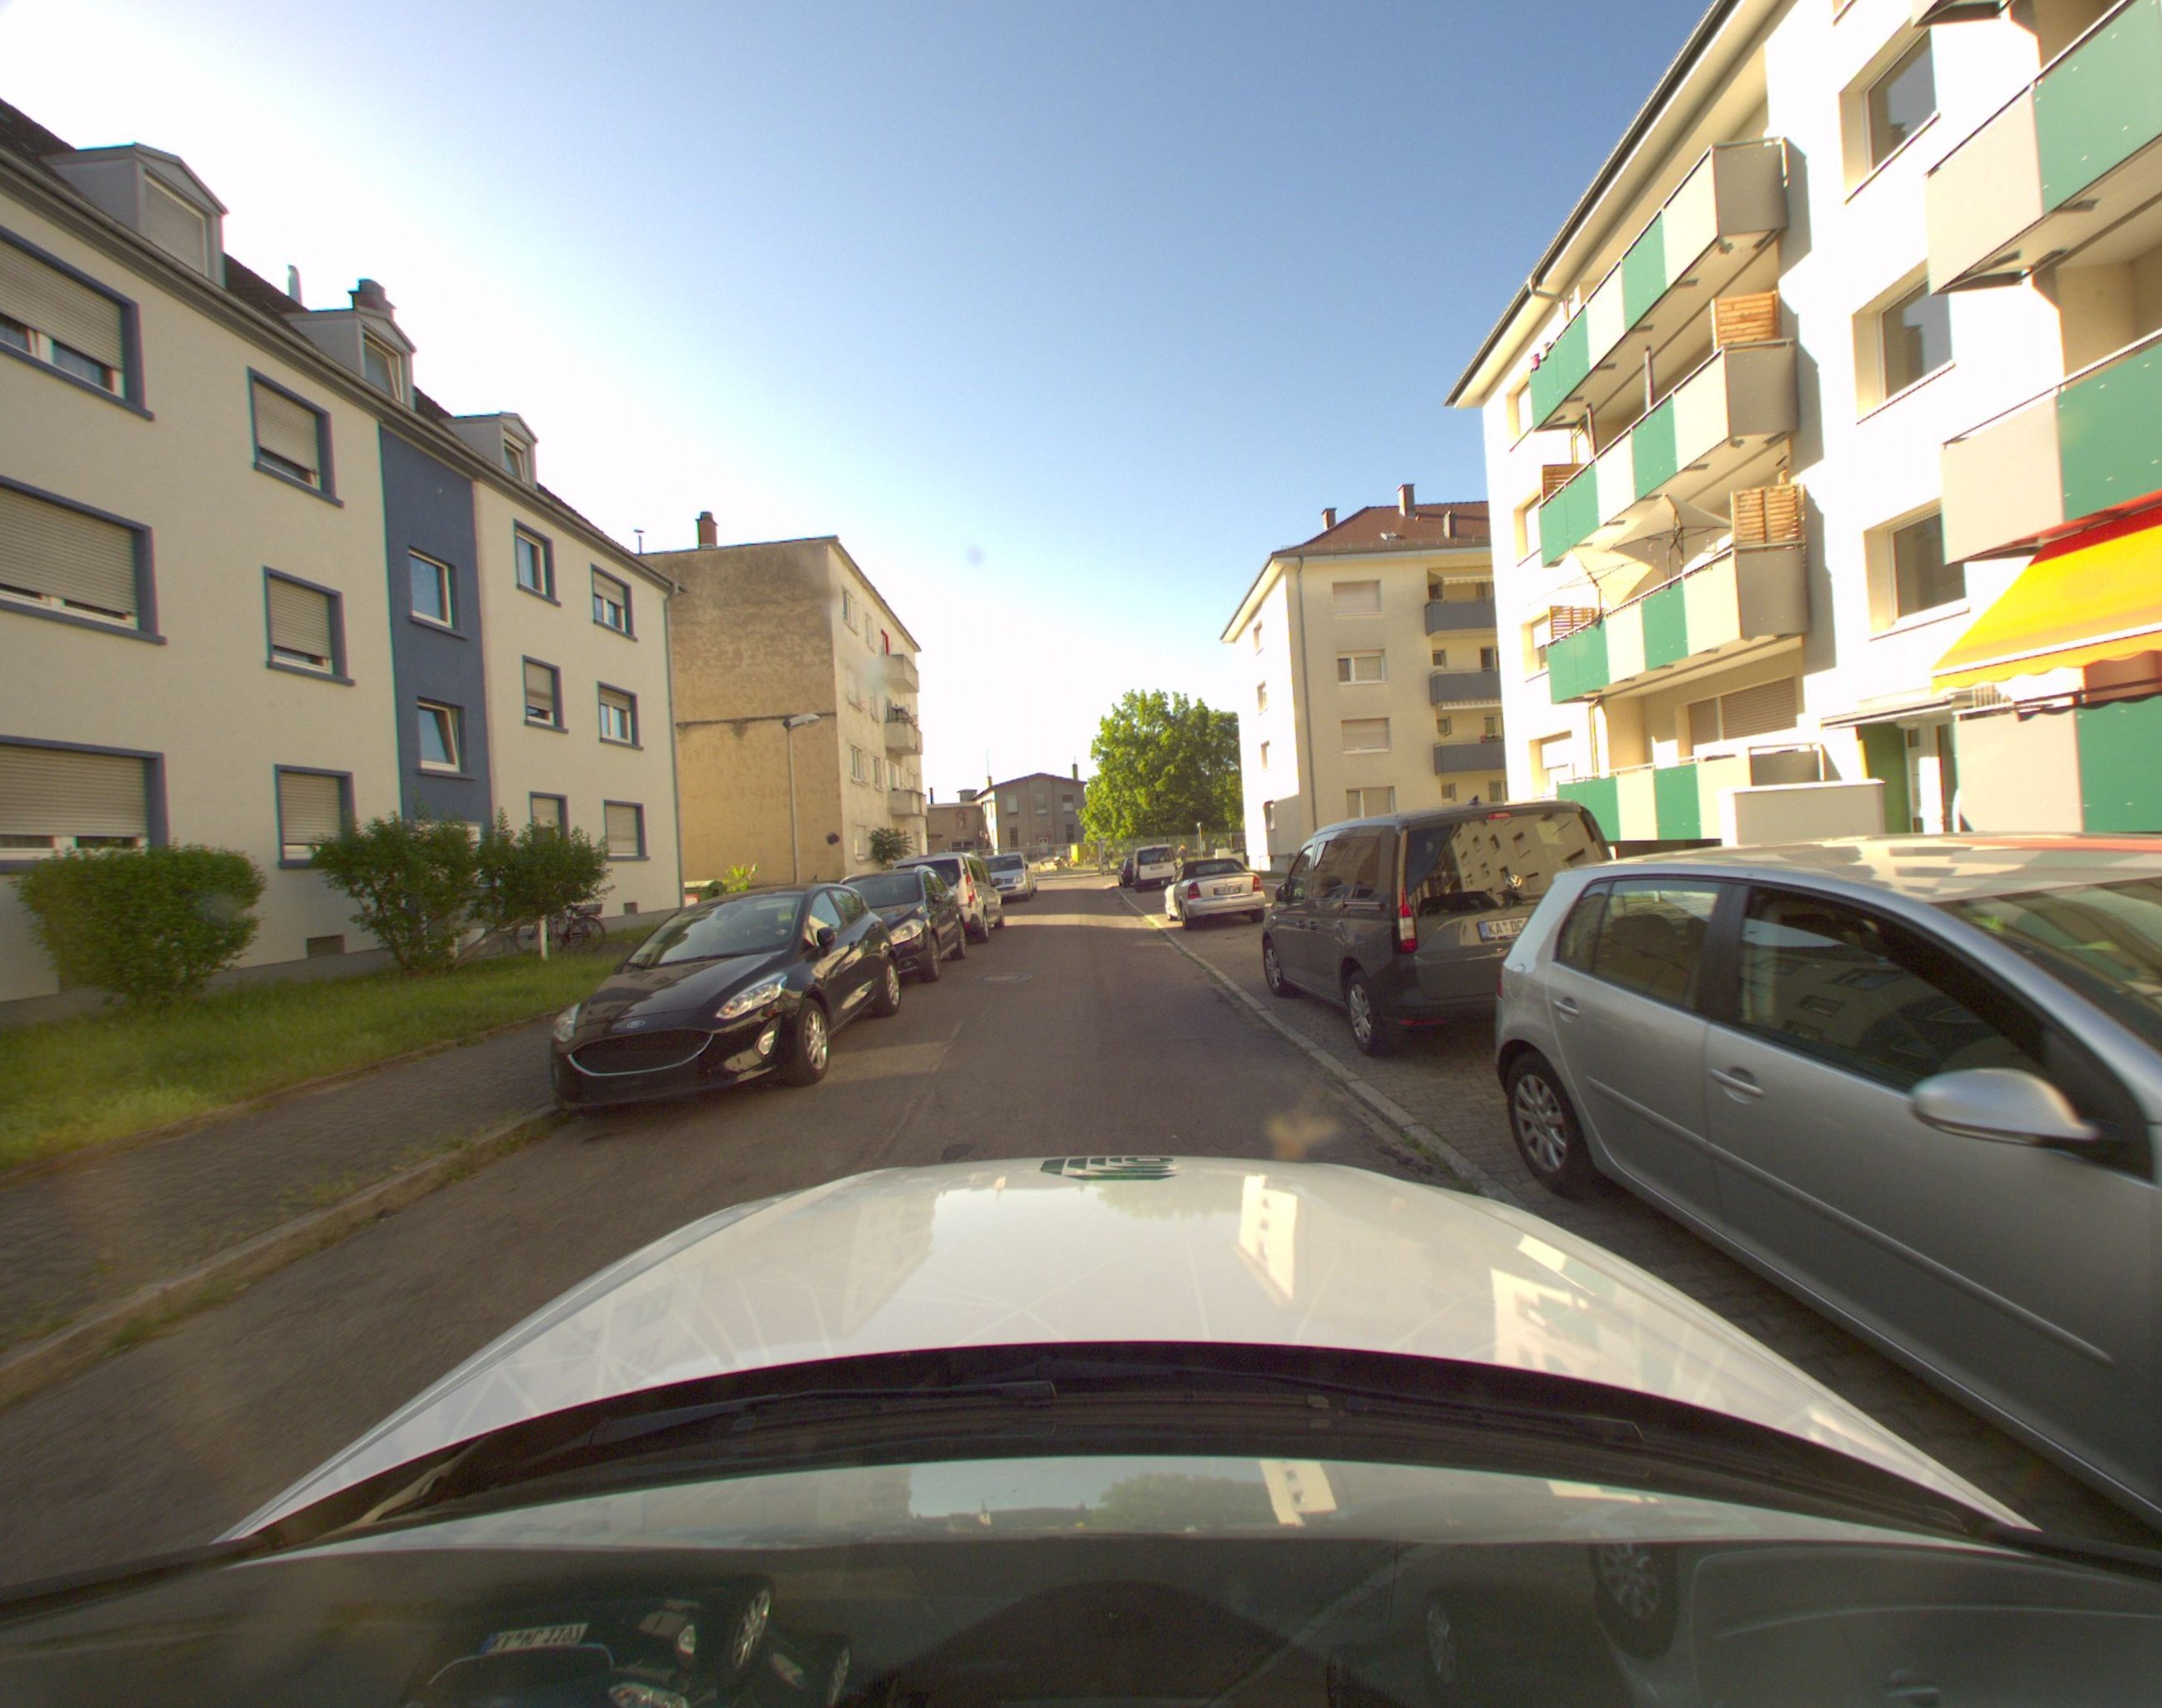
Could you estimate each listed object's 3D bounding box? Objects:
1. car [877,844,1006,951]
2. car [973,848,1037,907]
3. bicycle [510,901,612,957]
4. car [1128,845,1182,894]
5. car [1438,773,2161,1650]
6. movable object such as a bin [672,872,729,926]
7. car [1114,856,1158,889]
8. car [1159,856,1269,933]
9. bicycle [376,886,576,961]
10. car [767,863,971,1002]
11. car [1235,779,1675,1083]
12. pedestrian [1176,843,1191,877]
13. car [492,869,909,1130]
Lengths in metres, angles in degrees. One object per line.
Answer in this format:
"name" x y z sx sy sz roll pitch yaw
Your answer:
"car" -2.791 0.846 17.273 1.890 1.855 4.194 -4 -1 0
"car" -2.983 0.907 32.853 1.987 2.013 4.453 -5 -1 0
"bicycle" -10.473 1.510 16.432 1.641 0.936 0.548 -6 -1 1
"car" 3.017 0.636 34.169 1.760 1.739 4.093 -5 -1 0
"car" 2.755 0.594 2.297 1.676 1.587 4.013 -5 0 1
"movable object such as a bin" -11.968 1.386 25.673 1.065 1.539 1.356 -5 -1 -3
"car" 2.633 0.876 39.626 1.760 1.362 4.093 -5 -1 0
"car" 2.820 0.821 18.137 1.711 1.364 4.054 -5 -1 0
"bicycle" -10.165 1.148 13.775 2.666 1.130 0.771 -1 0 -7
"car" -2.844 0.974 11.897 1.827 1.515 3.998 -5 -1 -1
"car" 2.875 0.541 7.525 1.891 1.855 4.341 -4 -1 -1
"pedestrian" 5.709 0.344 45.405 0.650 1.815 0.616 -6 -1 10
"car" -2.787 0.939 7.023 1.653 1.443 3.870 -5 -1 0
